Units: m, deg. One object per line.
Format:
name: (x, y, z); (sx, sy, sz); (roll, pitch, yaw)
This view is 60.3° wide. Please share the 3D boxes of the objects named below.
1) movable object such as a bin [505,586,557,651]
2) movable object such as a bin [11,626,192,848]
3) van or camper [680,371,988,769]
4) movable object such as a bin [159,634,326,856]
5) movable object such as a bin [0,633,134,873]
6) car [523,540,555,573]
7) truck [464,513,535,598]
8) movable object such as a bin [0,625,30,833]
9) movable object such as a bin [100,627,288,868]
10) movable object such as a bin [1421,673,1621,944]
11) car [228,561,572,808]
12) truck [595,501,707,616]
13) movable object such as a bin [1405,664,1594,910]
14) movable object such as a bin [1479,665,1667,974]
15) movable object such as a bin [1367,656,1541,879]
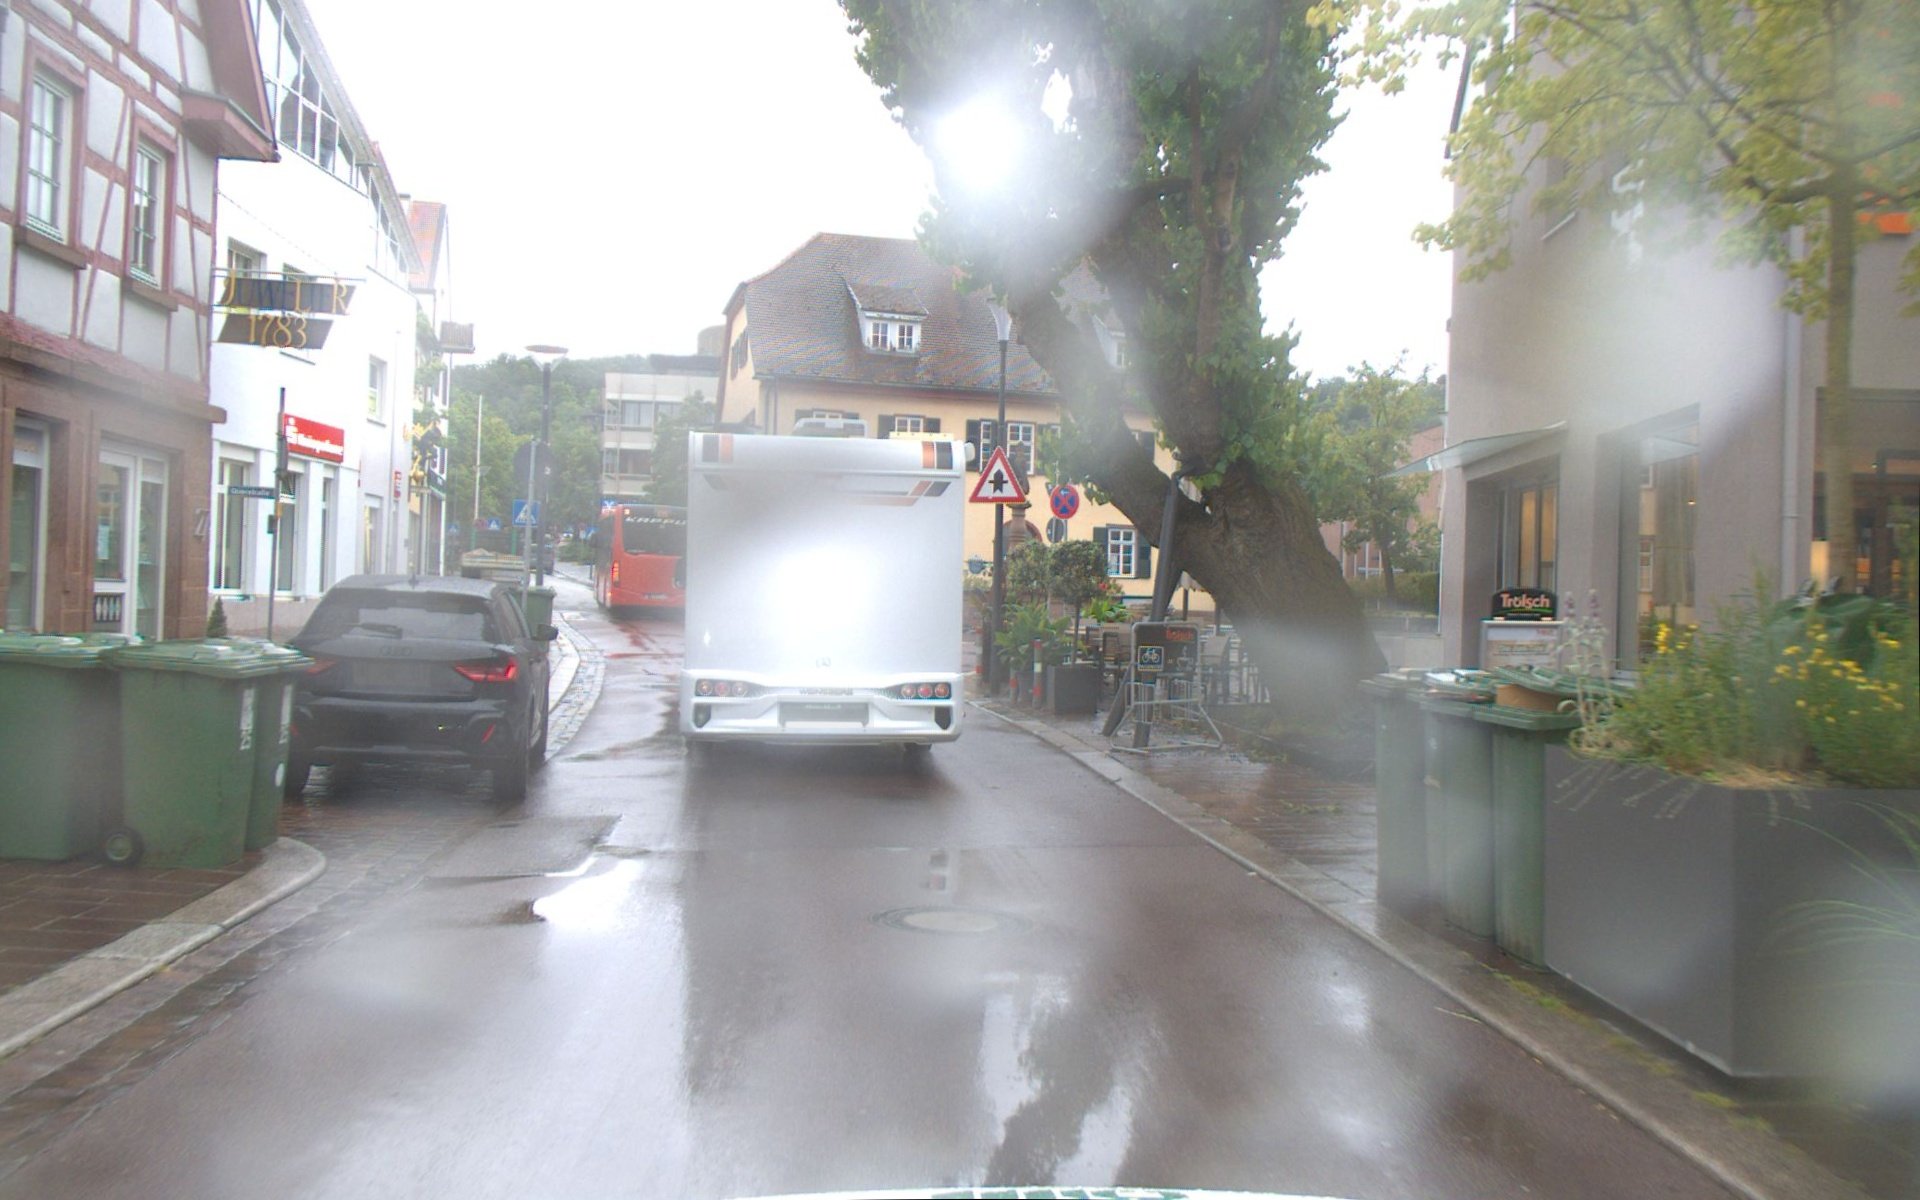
movable object such as a bin: (-7.209, 0.314, 27.808); (0.804, 1.069, 0.697); (1, -1, -14)
movable object such as a bin: (-4.616, 0.718, 8.939); (0.618, 1.142, 0.732); (1, -1, -7)
van or camper: (-1.406, -0.175, 15.736); (2.283, 2.970, 6.380); (1, -1, -9)
movable object such as a bin: (-3.874, 0.766, 8.979); (0.618, 1.142, 0.732); (1, -1, -7)
movable object such as a bin: (-4.542, 0.732, 8.154); (0.618, 1.070, 0.733); (1, 3, -7)
car: (-28.623, -2.950, 112.410); (1.961, 2.049, 3.982); (1, -1, -16)
truck: (-16.508, -1.515, 59.094); (2.244, 2.806, 5.542); (1, -1, -17)
movable object such as a bin: (-5.260, 0.664, 8.451); (0.618, 1.070, 0.732); (1, -1, -7)
movable object such as a bin: (-3.782, 0.710, 8.217); (0.618, 1.133, 0.732); (1, -1, -7)
movable object such as a bin: (2.468, 0.900, 7.319); (0.678, 1.121, 0.561); (1, -1, -2)
car: (-4.038, 0.523, 12.591); (1.959, 1.520, 3.988); (3, 0, -12)
truck: (-8.890, -1.082, 47.088); (2.423, 2.990, 6.168); (1, -1, -17)
movable object such as a bin: (2.599, 0.885, 8.008); (0.714, 1.121, 0.561); (1, -1, -2)
movable object such as a bin: (2.480, 0.866, 6.731); (0.532, 1.176, 0.576); (1, -1, -2)
movable object such as a bin: (2.560, 0.852, 8.613); (0.714, 1.099, 0.576); (1, -1, -2)
